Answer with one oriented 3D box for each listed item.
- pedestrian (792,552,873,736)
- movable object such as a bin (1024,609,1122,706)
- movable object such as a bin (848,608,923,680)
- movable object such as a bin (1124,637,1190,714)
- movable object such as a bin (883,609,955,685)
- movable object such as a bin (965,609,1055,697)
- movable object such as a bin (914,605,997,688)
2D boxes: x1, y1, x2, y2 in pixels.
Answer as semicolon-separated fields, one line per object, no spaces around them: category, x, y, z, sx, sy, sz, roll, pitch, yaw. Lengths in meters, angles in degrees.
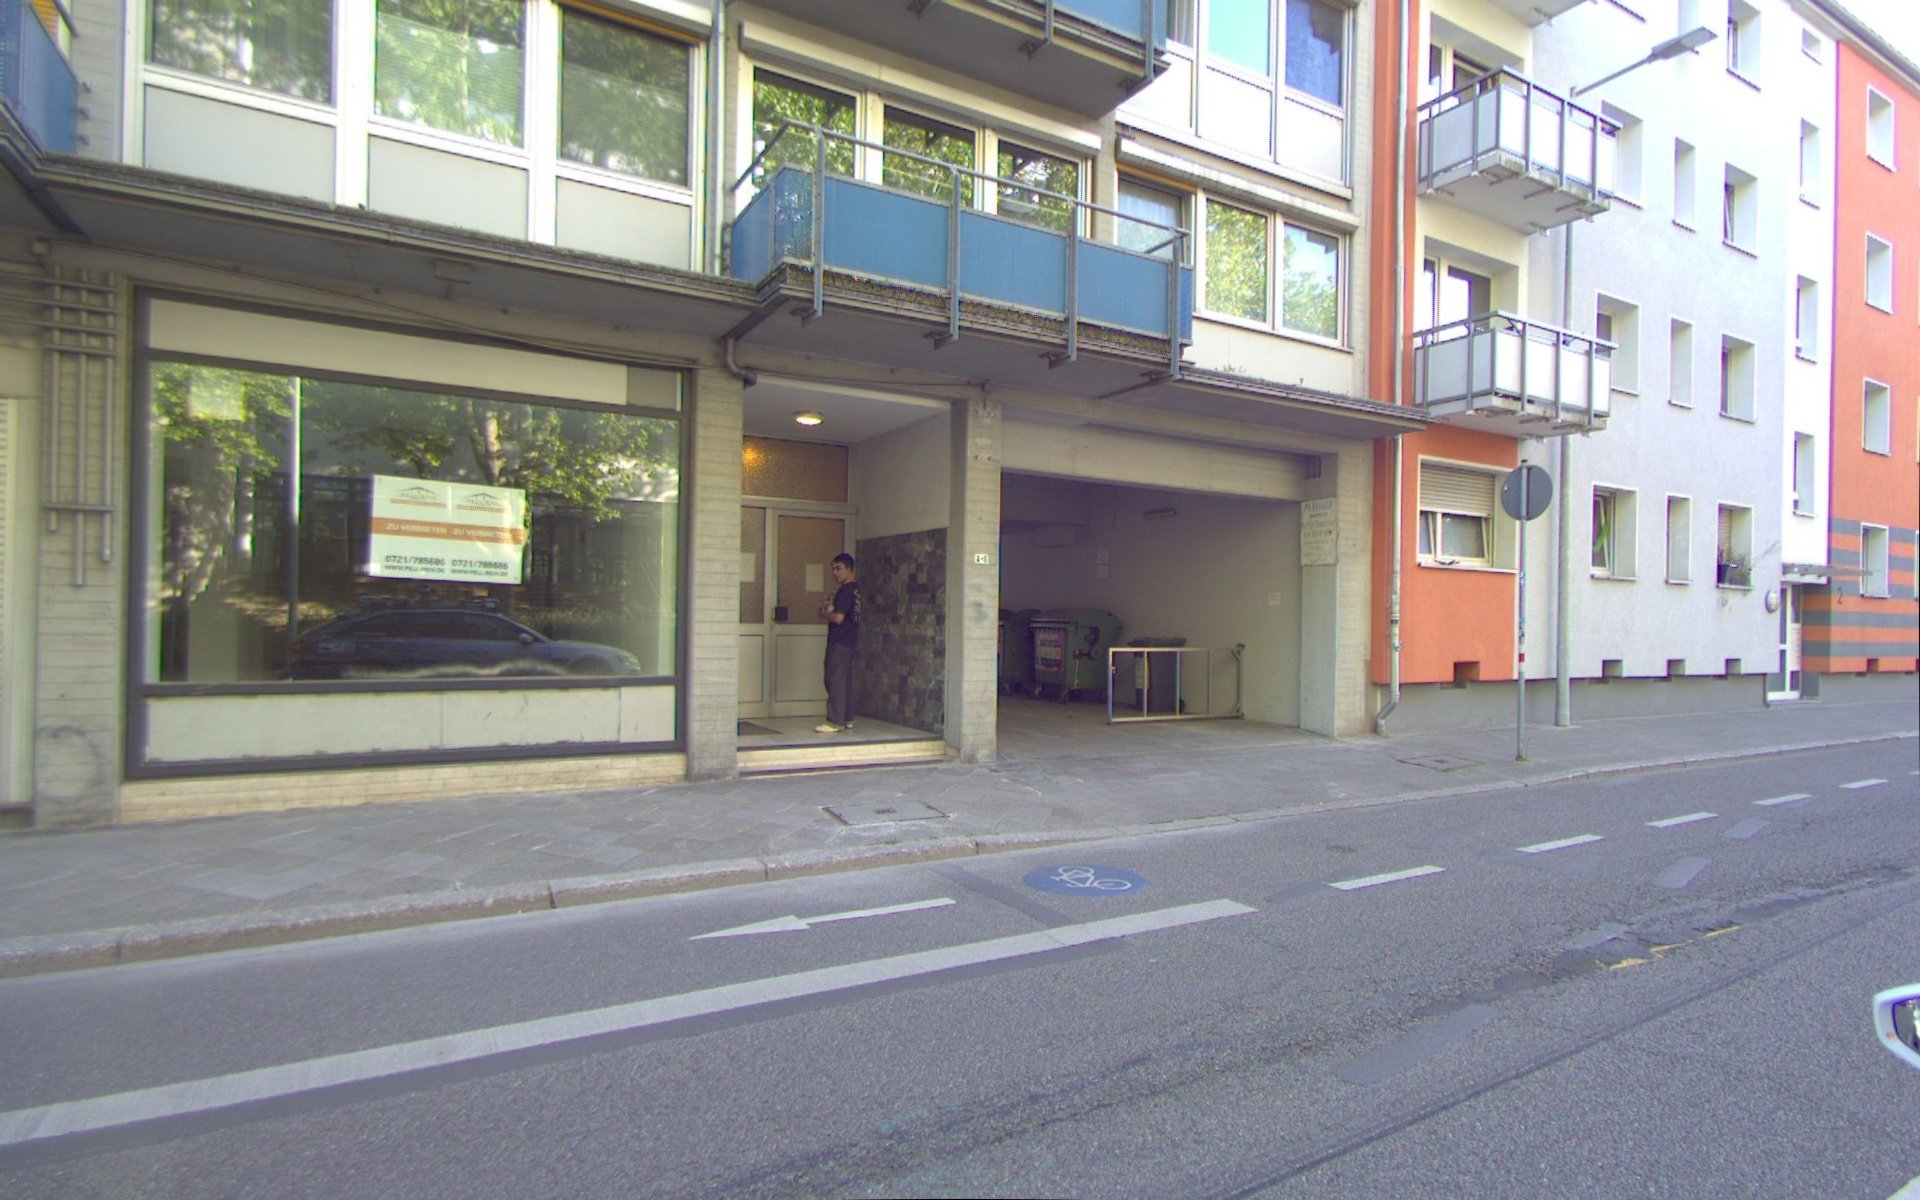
pedestrian;-1.268;0.423;10.029;0.518;1.764;0.630;1;0;27
movable object such as a bin;1.756;0.869;15.789;1.009;1.438;1.321;1;0;-23
movable object such as a bin;-1.542;0.874;20.627;1.014;1.409;1.264;1;0;-37
movable object such as a bin;2.832;1.069;14.445;0.704;1.054;0.583;1;0;-30
movable object such as a bin;-0.803;0.899;19.640;1.012;1.409;1.046;1;0;-31
movable object such as a bin;0.835;0.878;17.118;1.011;1.409;1.319;1;0;-27
movable object such as a bin;-0.094;0.841;18.628;1.011;1.462;1.318;1;0;-29
